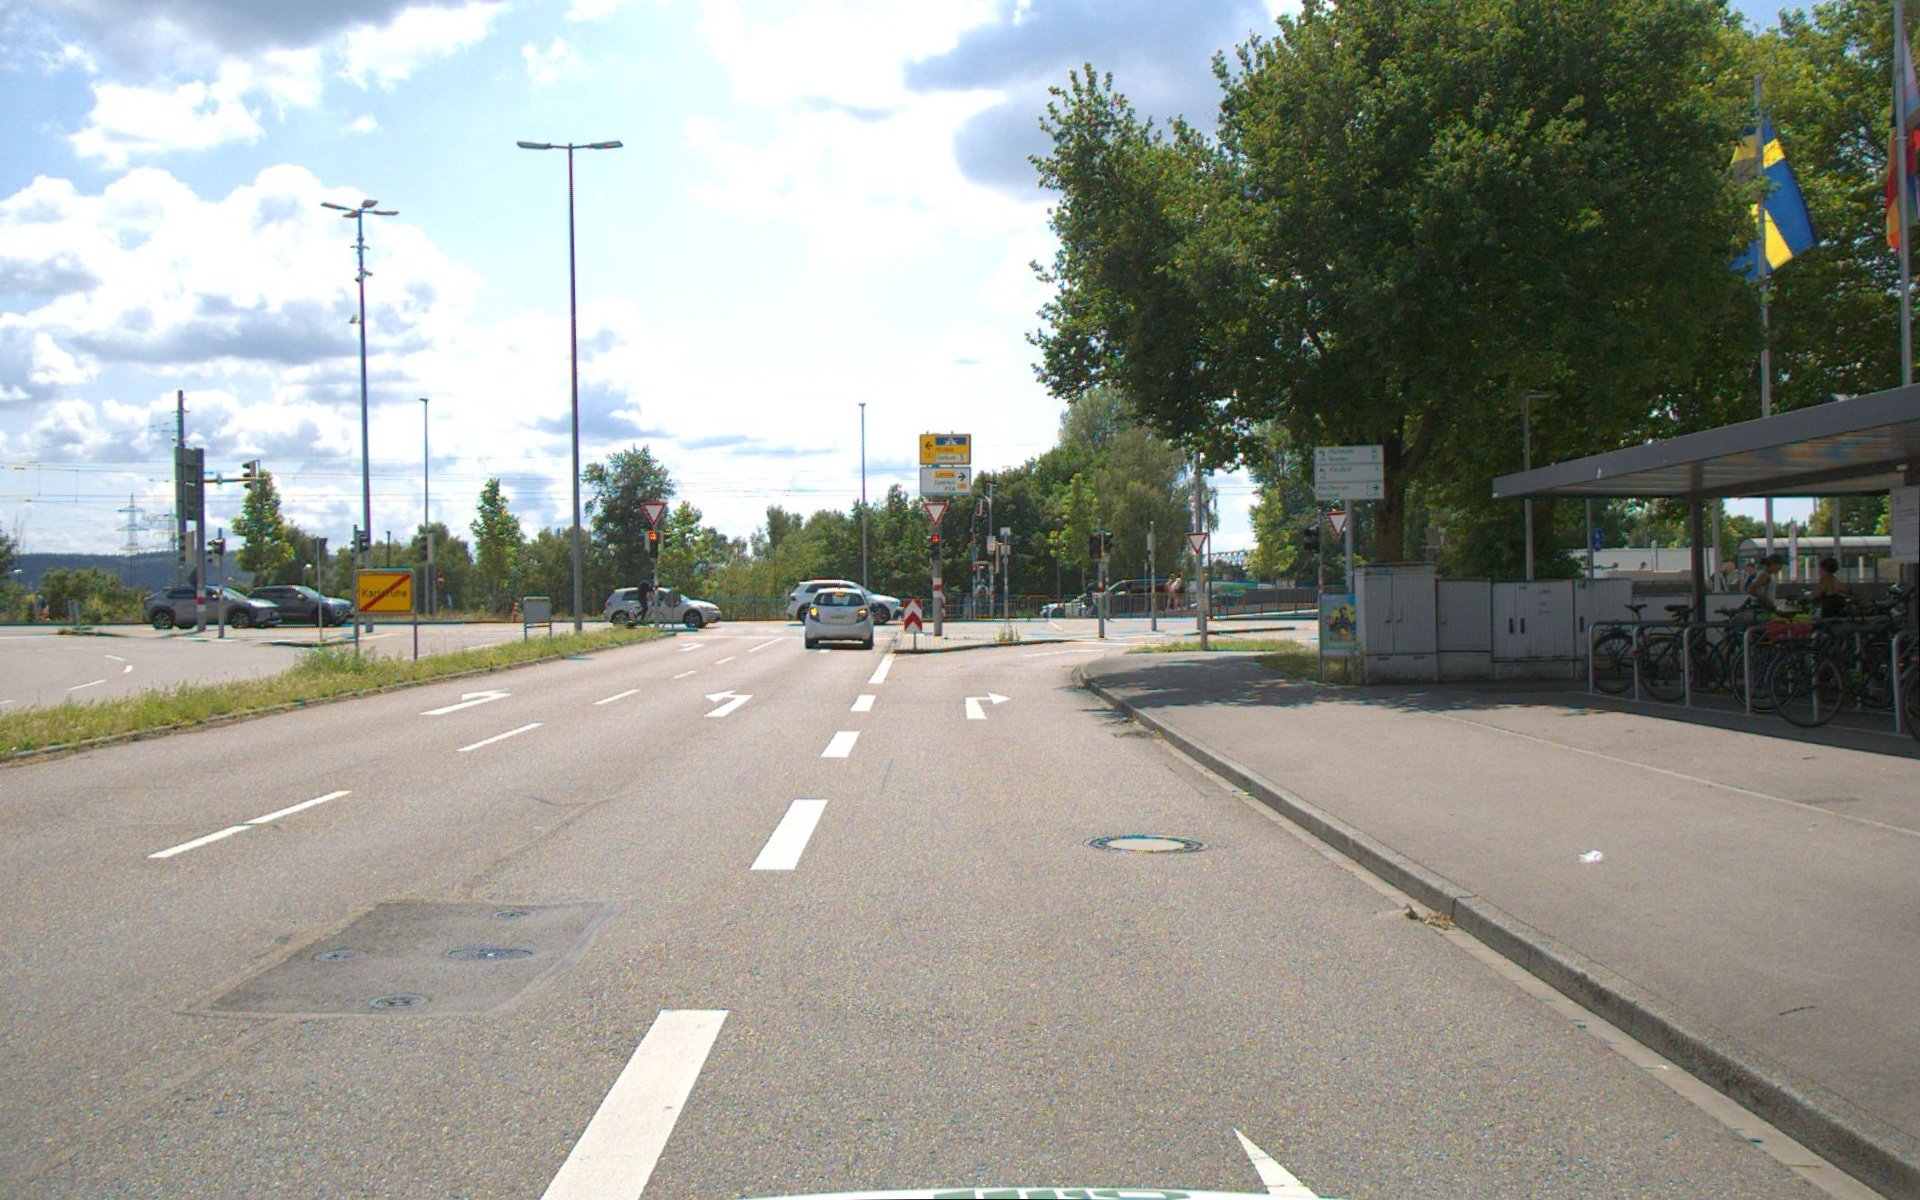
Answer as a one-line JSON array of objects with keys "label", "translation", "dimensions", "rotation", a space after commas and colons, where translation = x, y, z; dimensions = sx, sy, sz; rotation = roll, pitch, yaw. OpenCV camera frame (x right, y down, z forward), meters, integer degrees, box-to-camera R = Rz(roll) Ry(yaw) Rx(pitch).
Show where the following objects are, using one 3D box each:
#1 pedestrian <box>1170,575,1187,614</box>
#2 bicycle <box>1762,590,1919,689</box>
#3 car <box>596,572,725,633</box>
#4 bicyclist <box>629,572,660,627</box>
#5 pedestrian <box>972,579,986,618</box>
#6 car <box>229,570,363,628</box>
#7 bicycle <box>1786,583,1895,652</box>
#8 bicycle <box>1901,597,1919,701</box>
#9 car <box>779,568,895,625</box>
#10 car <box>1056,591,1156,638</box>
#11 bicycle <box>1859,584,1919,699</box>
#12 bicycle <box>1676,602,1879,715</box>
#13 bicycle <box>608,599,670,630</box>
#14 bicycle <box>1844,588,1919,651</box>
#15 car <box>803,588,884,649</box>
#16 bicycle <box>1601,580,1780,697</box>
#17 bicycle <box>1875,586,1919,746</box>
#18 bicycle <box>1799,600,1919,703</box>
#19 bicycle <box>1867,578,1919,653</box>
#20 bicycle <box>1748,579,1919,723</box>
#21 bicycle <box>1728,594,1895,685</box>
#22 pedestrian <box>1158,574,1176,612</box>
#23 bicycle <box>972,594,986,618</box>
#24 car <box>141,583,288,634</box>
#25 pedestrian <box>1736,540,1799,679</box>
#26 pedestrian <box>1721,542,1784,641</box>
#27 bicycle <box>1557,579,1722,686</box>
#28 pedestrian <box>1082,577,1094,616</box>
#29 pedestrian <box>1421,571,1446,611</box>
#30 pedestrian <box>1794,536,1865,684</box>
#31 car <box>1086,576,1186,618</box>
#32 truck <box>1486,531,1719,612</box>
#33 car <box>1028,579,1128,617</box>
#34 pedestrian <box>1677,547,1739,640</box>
[{"label": "pedestrian", "translation": [10.035, -0.270, 76.006], "dimensions": [0.662, 1.778, 0.637], "rotation": [-1, 2, 1]}, {"label": "bicycle", "translation": [10.136, 0.443, 18.772], "dimensions": [1.824, 1.052, 0.424], "rotation": [-2, 0, 0]}, {"label": "car", "translation": [-10.779, 0.084, 59.700], "dimensions": [4.261, 2.024, 1.999], "rotation": [-2, 0, -2]}, {"label": "bicyclist", "translation": [-10.842, -0.016, 56.851], "dimensions": [0.902, 1.878, 0.611], "rotation": [-1, 0, -2]}, {"label": "pedestrian", "translation": [0.877, -0.061, 77.073], "dimensions": [0.598, 1.800, 0.672], "rotation": [-1, 0, 0]}, {"label": "car", "translation": [-25.263, -0.036, 63.040], "dimensions": [4.261, 2.024, 1.999], "rotation": [-2, 0, -2]}, {"label": "bicycle", "translation": [15.545, 0.307, 29.202], "dimensions": [1.891, 1.127, 0.501], "rotation": [-2, -2, -20]}, {"label": "bicycle", "translation": [10.237, 0.449, 16.210], "dimensions": [1.826, 1.012, 0.423], "rotation": [-2, -2, -6]}, {"label": "car", "translation": [-4.645, -0.121, 62.989], "dimensions": [4.261, 2.024, 1.999], "rotation": [-2, 0, -2]}, {"label": "car", "translation": [6.074, 0.585, 69.270], "dimensions": [3.908, 1.814, 1.909], "rotation": [-2, 0, -3]}, {"label": "bicycle", "translation": [10.170, 0.395, 16.859], "dimensions": [1.826, 1.135, 0.423], "rotation": [-2, -1, -6]}, {"label": "bicycle", "translation": [8.055, 0.567, 16.315], "dimensions": [1.826, 1.012, 0.423], "rotation": [-2, 0, -6]}, {"label": "bicycle", "translation": [-11.017, 0.506, 56.841], "dimensions": [1.976, 1.016, 0.622], "rotation": [1, 0, -2]}, {"label": "bicycle", "translation": [16.005, 0.313, 28.002], "dimensions": [1.823, 1.012, 0.424], "rotation": [-2, 0, 0]}, {"label": "car", "translation": [-3.008, 0.441, 43.402], "dimensions": [1.855, 1.495, 3.833], "rotation": [0, 1, -1]}, {"label": "bicycle", "translation": [8.167, 0.423, 18.500], "dimensions": [1.826, 1.208, 0.423], "rotation": [-2, 0, -6]}, {"label": "bicycle", "translation": [8.069, 0.457, 12.655], "dimensions": [1.857, 1.190, 0.424], "rotation": [-3, 0, 0]}, {"label": "bicycle", "translation": [9.892, 0.524, 17.511], "dimensions": [1.826, 1.012, 0.423], "rotation": [-2, 0, -6]}, {"label": "bicycle", "translation": [15.648, 0.231, 26.963], "dimensions": [1.649, 1.177, 0.460], "rotation": [-2, 0, -16]}, {"label": "bicycle", "translation": [8.099, 0.442, 14.883], "dimensions": [1.826, 1.208, 0.423], "rotation": [-2, 0, -6]}, {"label": "bicycle", "translation": [10.173, 0.467, 19.775], "dimensions": [1.826, 1.012, 0.423], "rotation": [-2, 0, -6]}, {"label": "pedestrian", "translation": [9.606, -0.322, 76.706], "dimensions": [0.691, 1.751, 0.601], "rotation": [-2, 0, 1]}, {"label": "bicycle", "translation": [0.881, 0.264, 77.108], "dimensions": [0.606, 1.106, 1.722], "rotation": [-1, 0, 1]}, {"label": "car", "translation": [-27.072, 0.299, 60.148], "dimensions": [4.413, 1.704, 1.904], "rotation": [-2, 0, -1]}, {"label": "pedestrian", "translation": [10.047, 0.113, 20.591], "dimensions": [0.532, 1.691, 0.546], "rotation": [-1, 0, 10]}, {"label": "pedestrian", "translation": [17.245, -0.164, 36.016], "dimensions": [0.986, 2.108, 0.975], "rotation": [-1, -2, 13]}, {"label": "bicycle", "translation": [8.136, 0.383, 19.817], "dimensions": [1.826, 1.208, 0.423], "rotation": [-2, 0, -6]}, {"label": "pedestrian", "translation": [5.827, -0.184, 75.305], "dimensions": [0.512, 1.751, 0.730], "rotation": [-2, 0, 3]}, {"label": "pedestrian", "translation": [22.218, -0.414, 77.611], "dimensions": [0.908, 1.839, 0.736], "rotation": [-1, 0, -2]}, {"label": "pedestrian", "translation": [10.193, 0.114, 19.400], "dimensions": [0.533, 1.691, 0.478], "rotation": [-1, 0, -3]}, {"label": "car", "translation": [8.520, -0.137, 80.454], "dimensions": [4.557, 1.852, 1.999], "rotation": [-2, 0, -2]}, {"label": "truck", "translation": [35.394, -1.548, 91.384], "dimensions": [11.714, 4.176, 2.952], "rotation": [-1, 0, -1]}, {"label": "car", "translation": [6.152, -0.094, 86.498], "dimensions": [5.014, 1.839, 1.999], "rotation": [-2, 0, -2]}, {"label": "pedestrian", "translation": [15.981, -0.136, 35.363], "dimensions": [0.986, 1.935, 0.975], "rotation": [-1, -1, 13]}]
